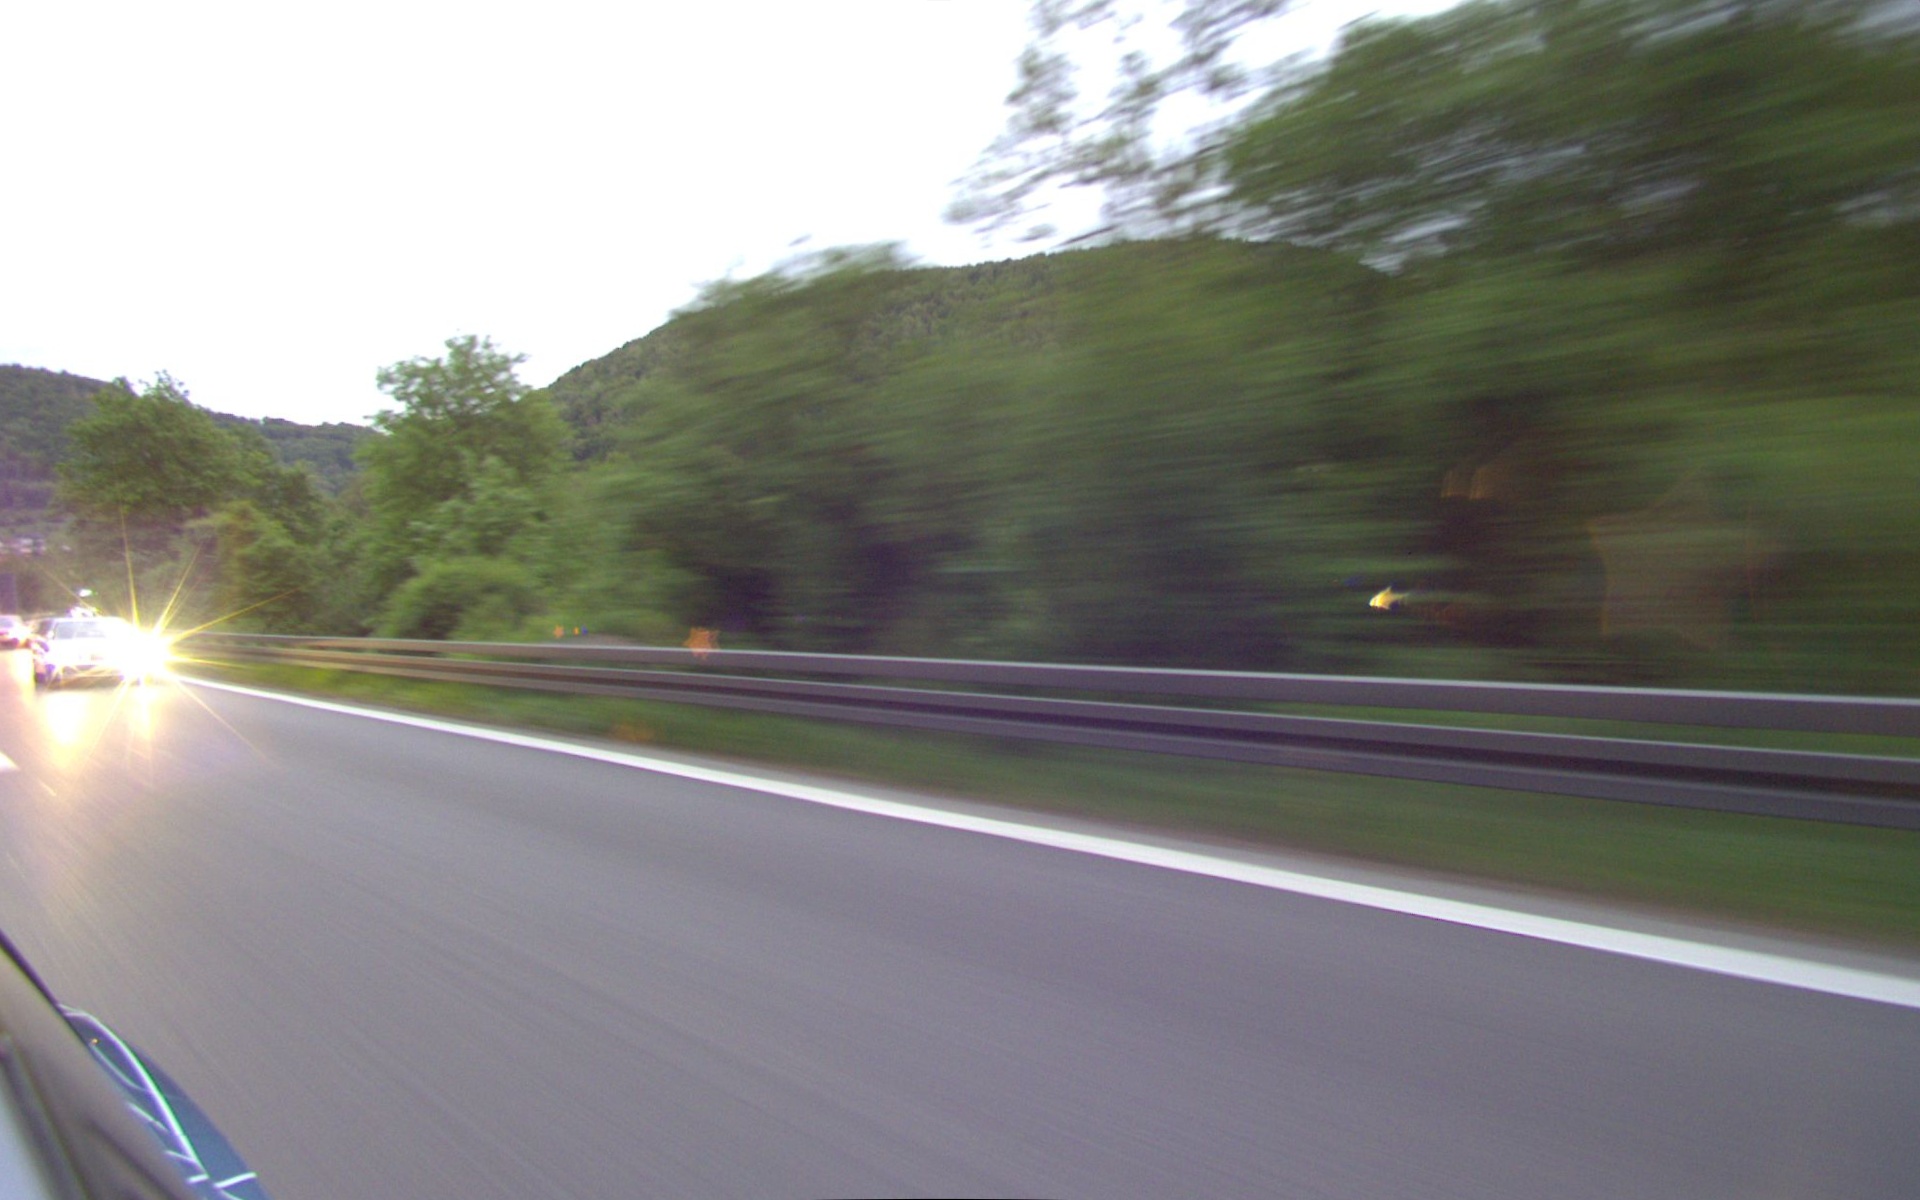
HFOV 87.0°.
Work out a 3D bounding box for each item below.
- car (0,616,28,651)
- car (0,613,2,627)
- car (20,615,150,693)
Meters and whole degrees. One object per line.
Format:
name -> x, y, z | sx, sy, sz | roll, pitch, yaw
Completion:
car -> -41.602, 1.430, 43.681 | 3.668, 1.444, 1.668 | -1, 0, 42
car -> -124.088, 2.548, 129.765 | 3.639, 1.688, 1.567 | 3, 6, 43
car -> -18.828, 1.093, 21.739 | 3.767, 1.479, 1.668 | -1, 0, 42
